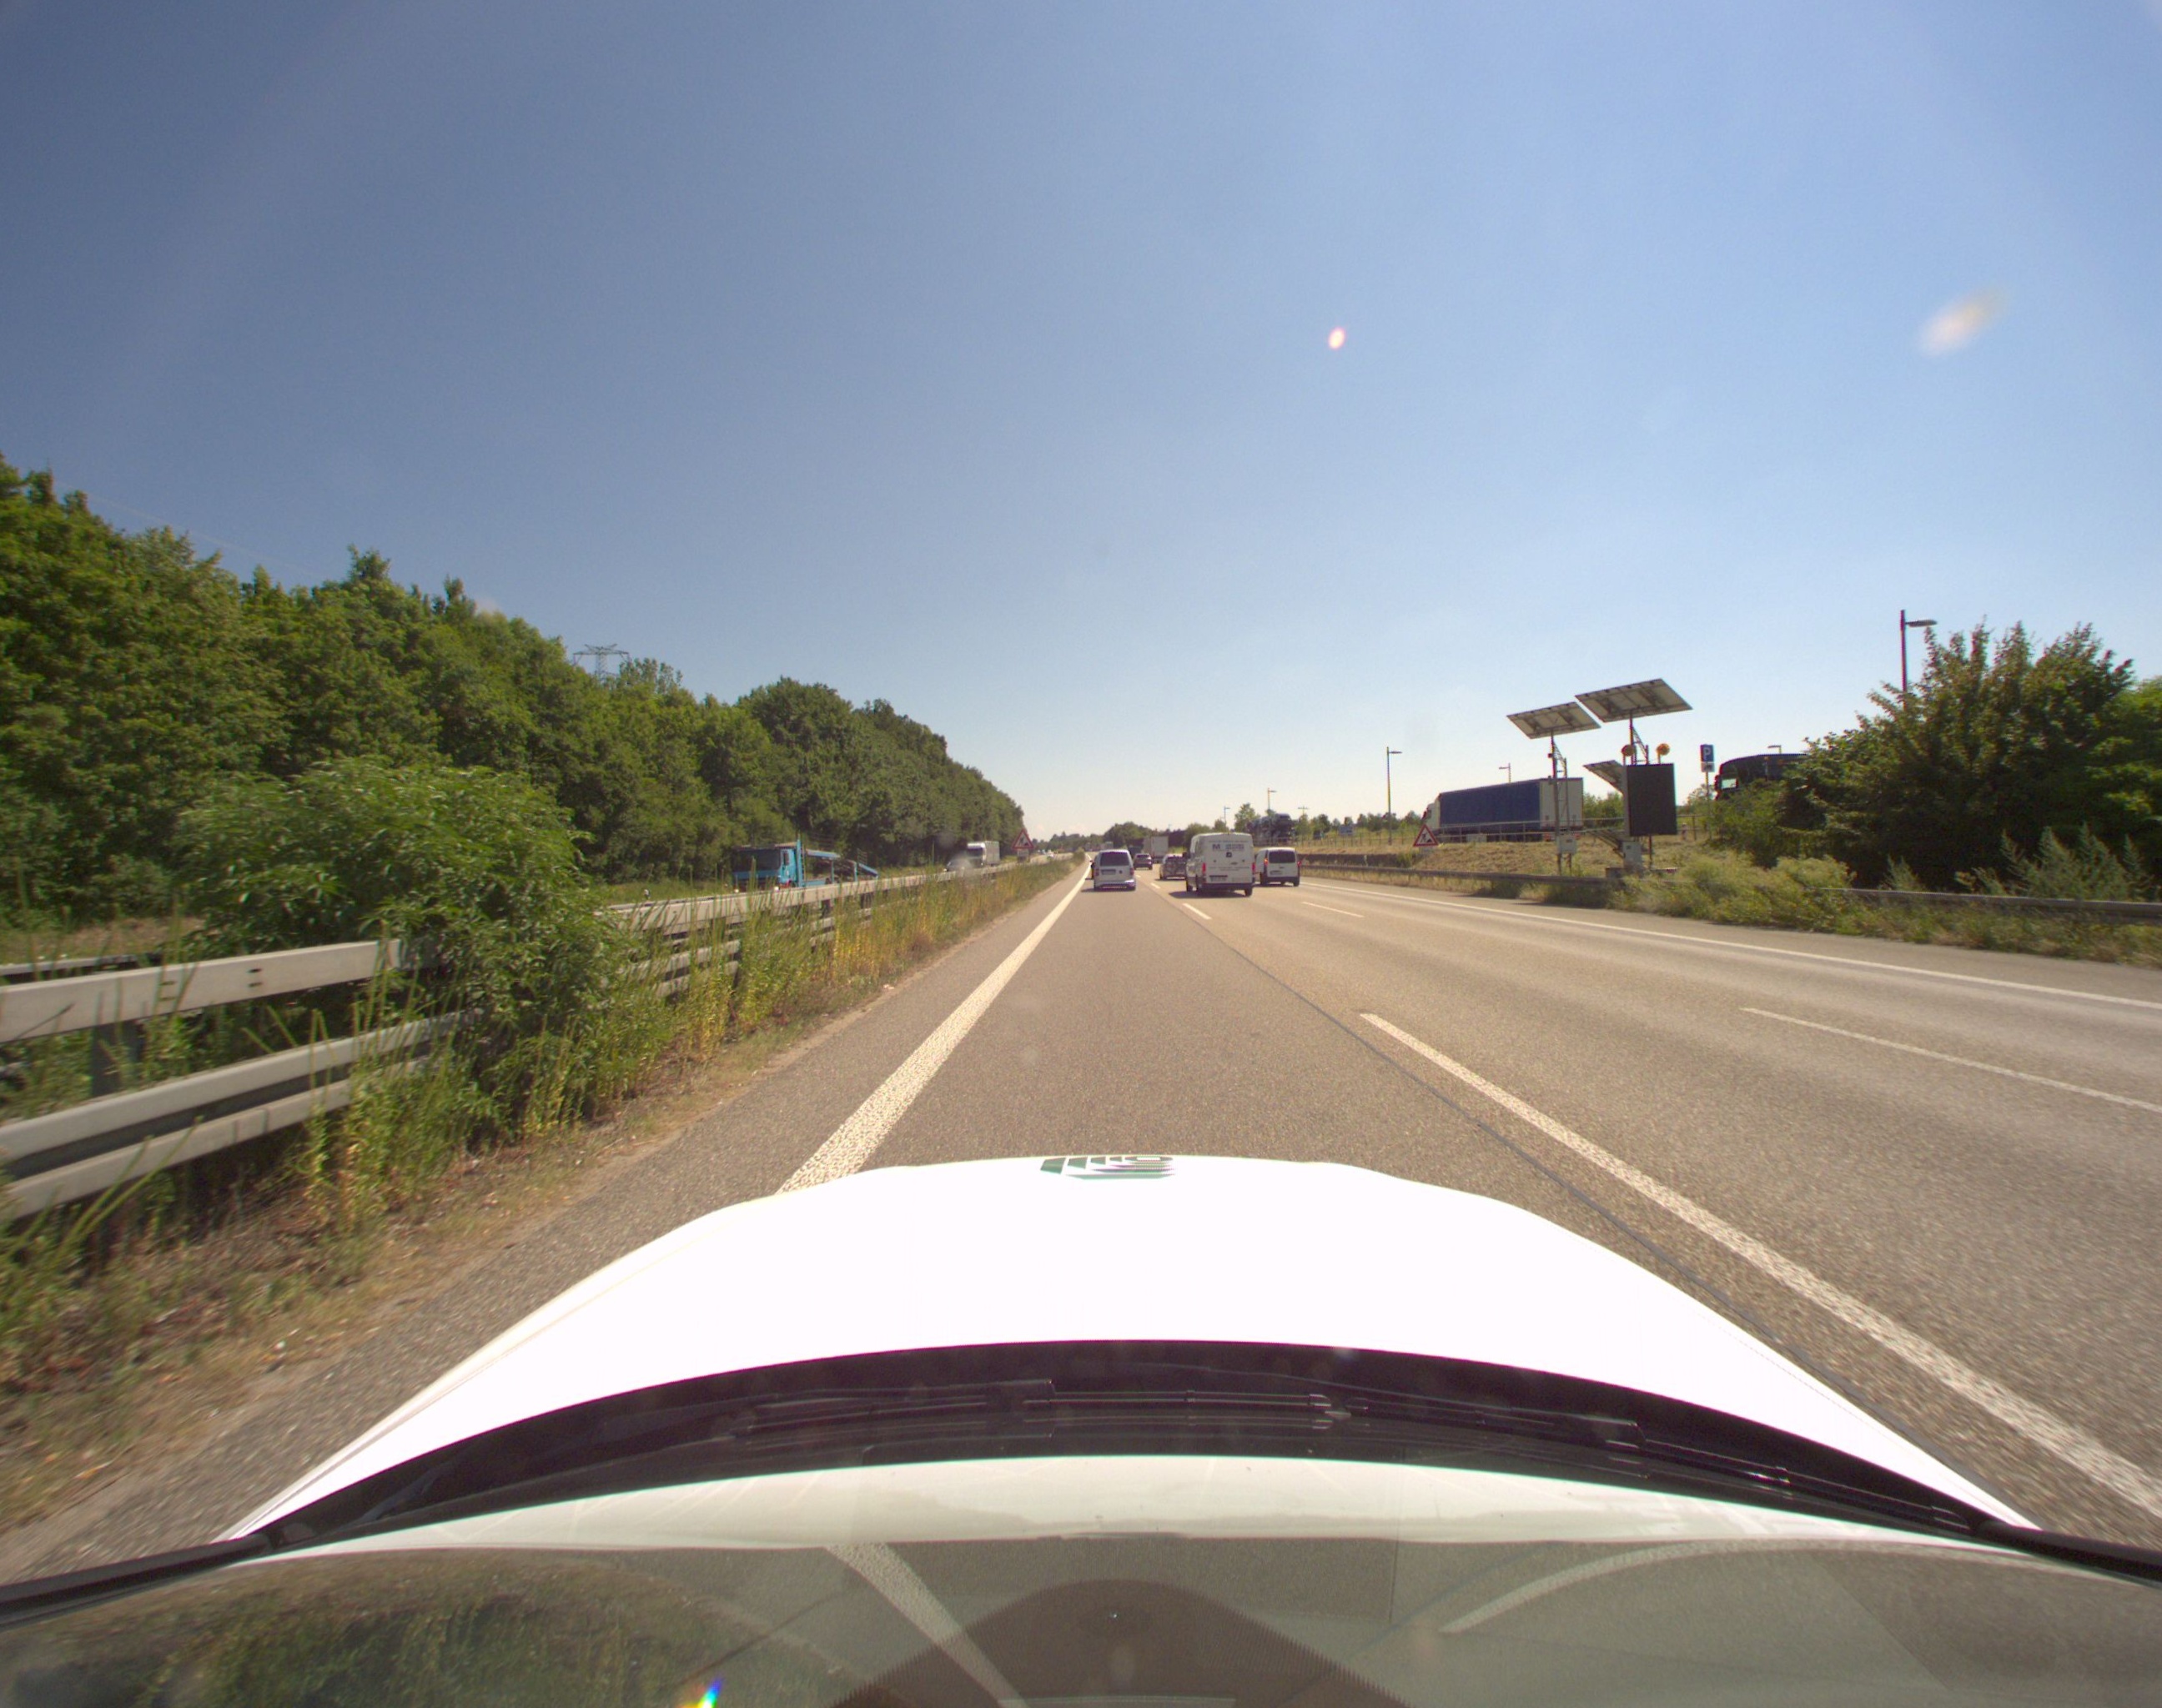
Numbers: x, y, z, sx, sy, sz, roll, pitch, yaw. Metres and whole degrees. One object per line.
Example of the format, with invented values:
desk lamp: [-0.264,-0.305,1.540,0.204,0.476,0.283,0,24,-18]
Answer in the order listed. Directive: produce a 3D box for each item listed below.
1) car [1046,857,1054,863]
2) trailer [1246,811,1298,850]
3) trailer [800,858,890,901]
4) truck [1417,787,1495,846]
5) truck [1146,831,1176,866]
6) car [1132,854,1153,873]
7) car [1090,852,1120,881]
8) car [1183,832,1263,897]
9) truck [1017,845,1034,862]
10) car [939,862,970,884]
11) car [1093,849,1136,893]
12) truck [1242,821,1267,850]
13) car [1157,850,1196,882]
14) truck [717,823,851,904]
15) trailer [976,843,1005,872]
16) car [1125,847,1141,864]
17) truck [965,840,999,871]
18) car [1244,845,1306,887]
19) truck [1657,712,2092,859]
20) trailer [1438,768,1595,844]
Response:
car: [-9.020,1.666,235.495,1.987,1.670,5.612,-4,-1,1]
trailer: [24.063,-2.804,103.833,2.596,4.258,18.424,0,-1,1]
trailer: [-15.470,1.613,54.203,3.133,2.639,8.536,0,-1,3]
truck: [28.313,-2.755,61.776,3.041,4.083,6.399,0,-1,1]
truck: [11.710,-0.723,120.288,3.773,5.000,12.527,0,-1,3]
car: [5.892,0.915,78.699,1.894,1.672,4.091,-2,-1,3]
car: [1.587,0.775,52.127,1.737,1.701,4.092,-2,-1,3]
car: [5.303,0.394,31.140,2.174,2.254,5.363,-1,-1,1]
truck: [-12.798,-0.035,188.555,2.773,3.739,11.158,0,-1,1]
car: [-11.018,1.631,71.163,1.718,1.656,4.861,-4,0,1]
car: [1.504,0.713,35.937,1.738,1.764,4.091,-2,-1,3]
truck: [24.306,-2.558,114.184,2.593,3.827,4.001,0,-1,1]
car: [5.578,0.677,48.061,1.968,1.733,4.091,-2,-1,3]
truck: [-15.815,0.501,44.572,2.985,3.802,10.792,-2,0,2]
trailer: [-13.929,0.543,126.081,3.442,4.280,7.969,0,-1,0]
car: [6.119,0.206,96.165,1.668,1.892,4.091,-2,-1,3]
truck: [-14.041,0.218,116.580,3.442,3.994,11.122,-2,0,0]
car: [9.177,0.553,38.788,1.944,1.838,4.178,-2,-1,1]
truck: [26.688,-1.877,29.125,3.773,4.083,12.526,0,-1,3]
trailer: [28.113,-2.829,53.860,3.041,4.083,14.261,0,-1,1]
